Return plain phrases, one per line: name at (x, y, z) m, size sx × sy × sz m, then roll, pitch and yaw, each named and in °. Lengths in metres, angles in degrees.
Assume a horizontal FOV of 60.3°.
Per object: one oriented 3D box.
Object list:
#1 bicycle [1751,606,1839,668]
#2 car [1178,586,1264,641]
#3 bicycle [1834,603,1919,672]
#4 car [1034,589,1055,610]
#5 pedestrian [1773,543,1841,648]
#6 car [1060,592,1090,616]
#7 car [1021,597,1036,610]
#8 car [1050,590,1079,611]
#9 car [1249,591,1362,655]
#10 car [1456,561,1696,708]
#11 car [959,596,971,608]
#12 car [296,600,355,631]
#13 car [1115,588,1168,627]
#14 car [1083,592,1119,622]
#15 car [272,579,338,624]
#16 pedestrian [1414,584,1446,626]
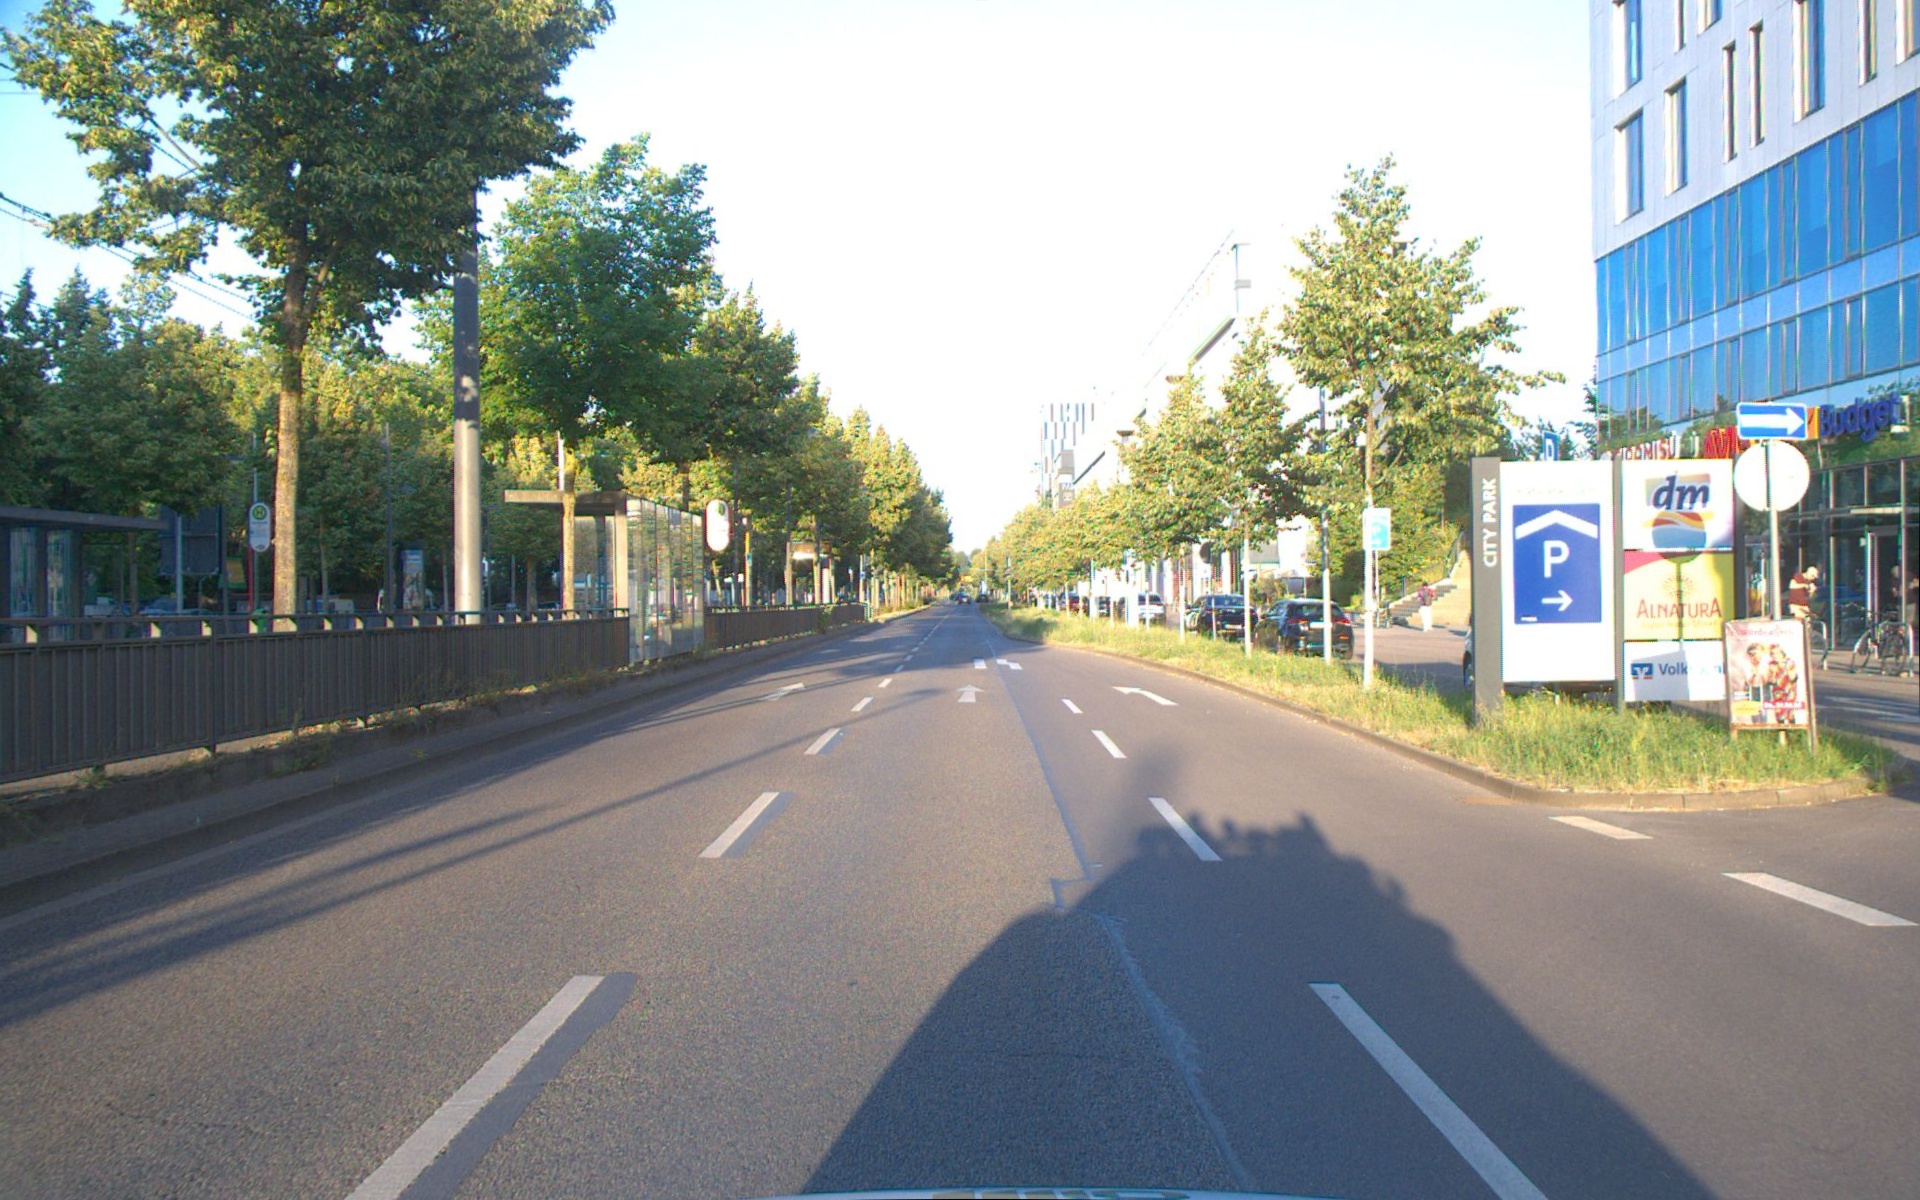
bicycle at (15.272, 0.660, 30.308) m, size 0.621 × 1.086 × 2.123 m, roll -1°, pitch 0°, yaw 3°
car at (8.631, 0.431, 55.144) m, size 1.953 × 1.726 × 4.592 m, roll 1°, pitch 0°, yaw -2°
bicycle at (15.444, 0.607, 27.715) m, size 0.621 × 1.086 × 2.123 m, roll -1°, pitch 0°, yaw 4°
car at (8.770, -0.051, 171.959) m, size 1.953 × 2.049 × 3.999 m, roll -1°, pitch 0°, yaw -1°
pedestrian at (17.646, -0.084, 34.488) m, size 0.795 × 2.126 × 1.113 m, roll -2°, pitch 0°, yaw 2°
car at (8.648, 0.295, 124.704) m, size 1.856 × 1.802 × 3.946 m, roll -1°, pitch 0°, yaw -1°
car at (8.877, 0.489, 213.635) m, size 1.661 × 1.624 × 3.999 m, roll -2°, pitch 0°, yaw -1°
car at (8.288, 0.029, 131.503) m, size 1.737 × 1.664 × 3.558 m, roll -1°, pitch 0°, yaw -5°
car at (8.477, 0.525, 40.985) m, size 1.787 × 1.460 × 4.459 m, roll 1°, pitch 0°, yaw -1°
car at (8.610, 0.447, 23.536) m, size 1.813 × 1.859 × 4.395 m, roll 1°, pitch 0°, yaw 1°
car at (0.673, 0.303, 244.112) m, size 1.661 × 1.624 × 3.999 m, roll -2°, pitch 0°, yaw -1°
car at (-40.307, 0.972, 105.147) m, size 1.866 × 1.847 × 4.222 m, roll -2°, pitch 0°, yaw 4°
car at (8.534, 0.331, 78.021) m, size 1.953 × 1.726 × 4.414 m, roll 1°, pitch 0°, yaw -1°
car at (8.597, 0.420, 100.980) m, size 1.987 × 1.726 × 4.399 m, roll 1°, pitch 0°, yaw 3°
car at (-33.596, 0.083, 84.893) m, size 1.738 × 2.223 × 4.000 m, roll -1°, pitch 0°, yaw 1°
pedestrian at (16.576, 0.170, 58.361) m, size 0.808 × 1.467 × 1.055 m, roll -1°, pitch 0°, yaw -1°
